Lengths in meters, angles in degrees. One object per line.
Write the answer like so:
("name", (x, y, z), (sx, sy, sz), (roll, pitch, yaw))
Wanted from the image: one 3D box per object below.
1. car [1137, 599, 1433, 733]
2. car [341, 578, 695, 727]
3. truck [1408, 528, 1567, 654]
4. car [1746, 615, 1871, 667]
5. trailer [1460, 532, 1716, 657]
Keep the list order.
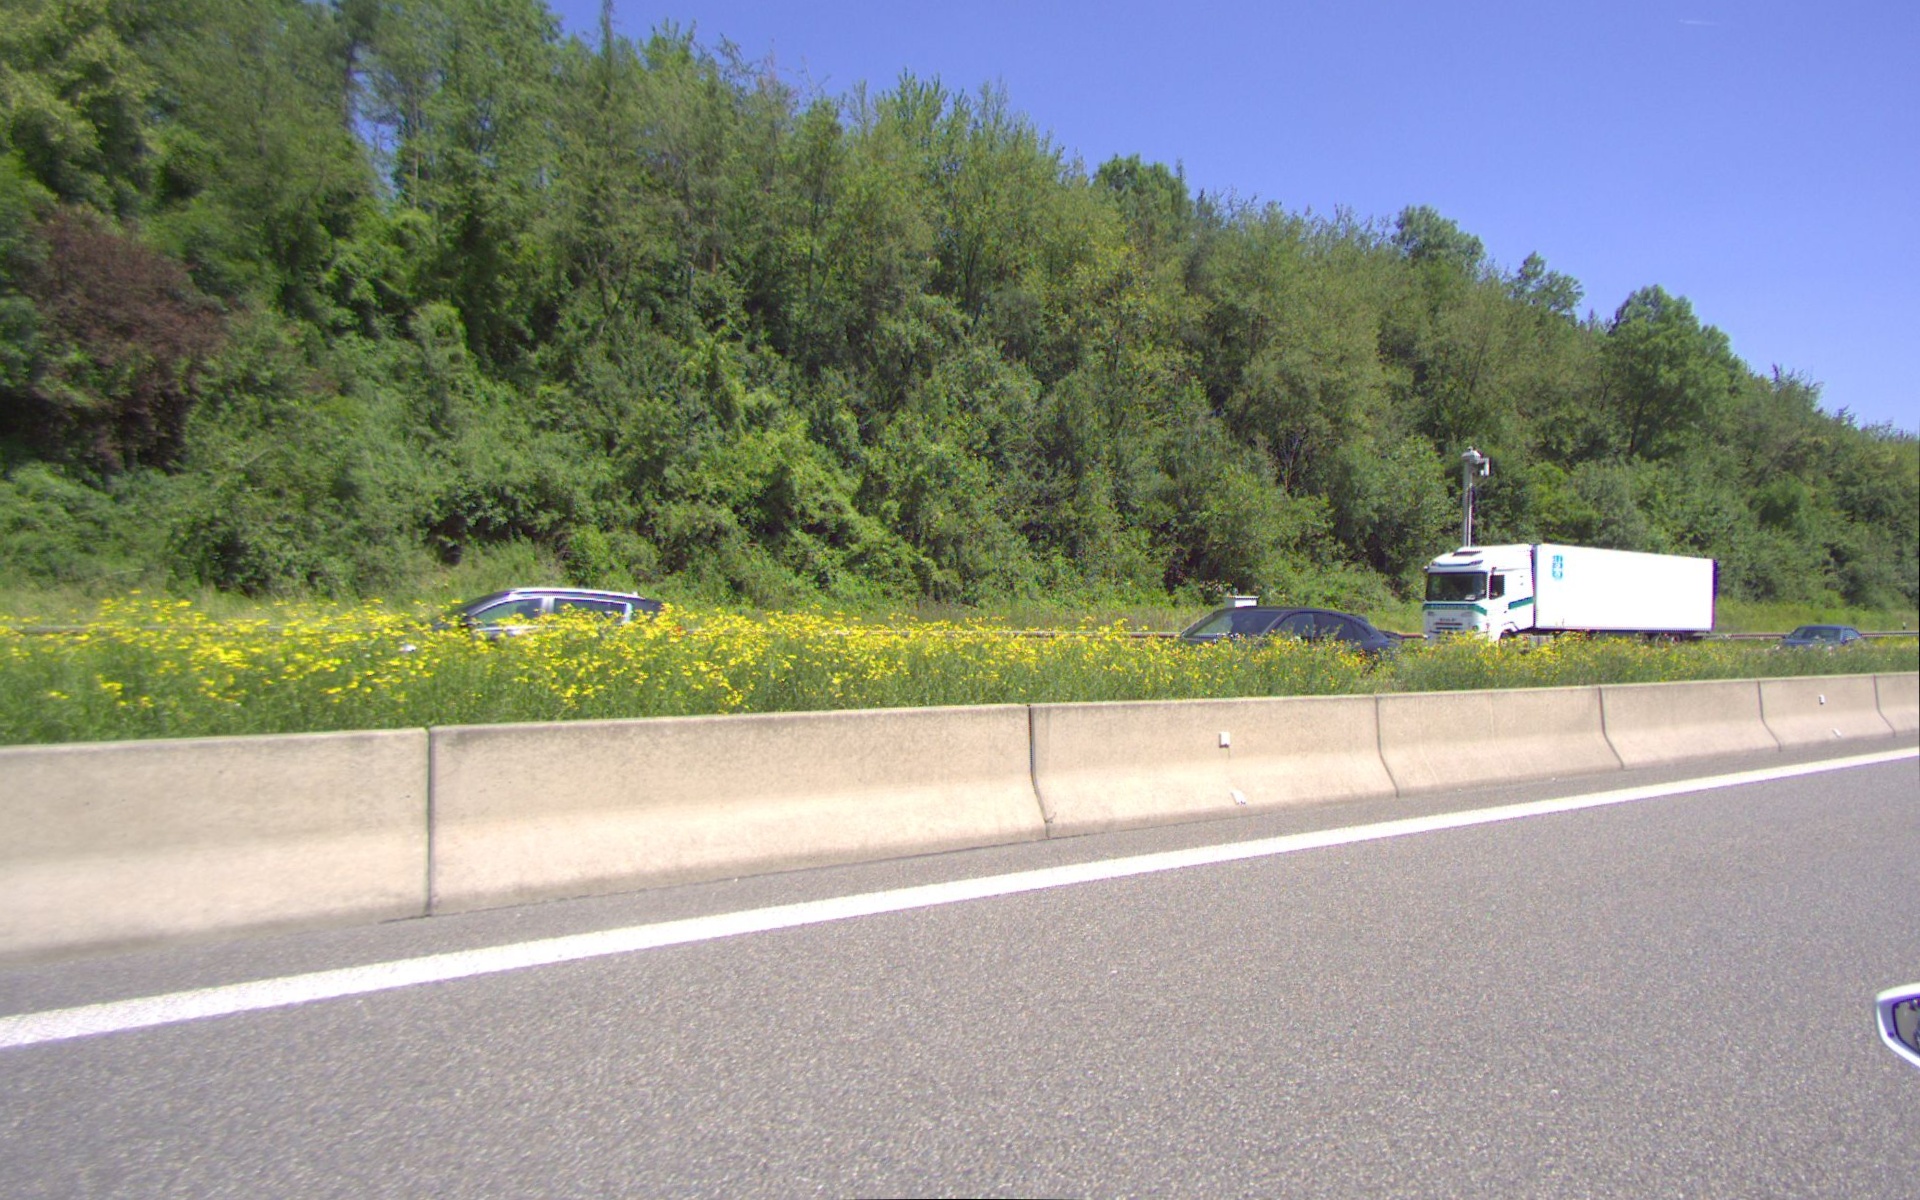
("car", (4.813, 0.887, 14.805), (4.032, 1.700, 1.984), (1, 0, -30))
("car", (-5.673, 0.616, 13.057), (3.934, 1.663, 1.939), (1, 0, -30))
("truck", (18.851, -0.242, 35.852), (5.144, 4.144, 2.676), (2, 0, -31))
("car", (28.372, 1.385, 33.562), (3.954, 1.593, 1.984), (2, 0, -31))
("trailer", (25.135, 0.001, 39.724), (13.777, 4.263, 2.700), (2, 0, -32))
